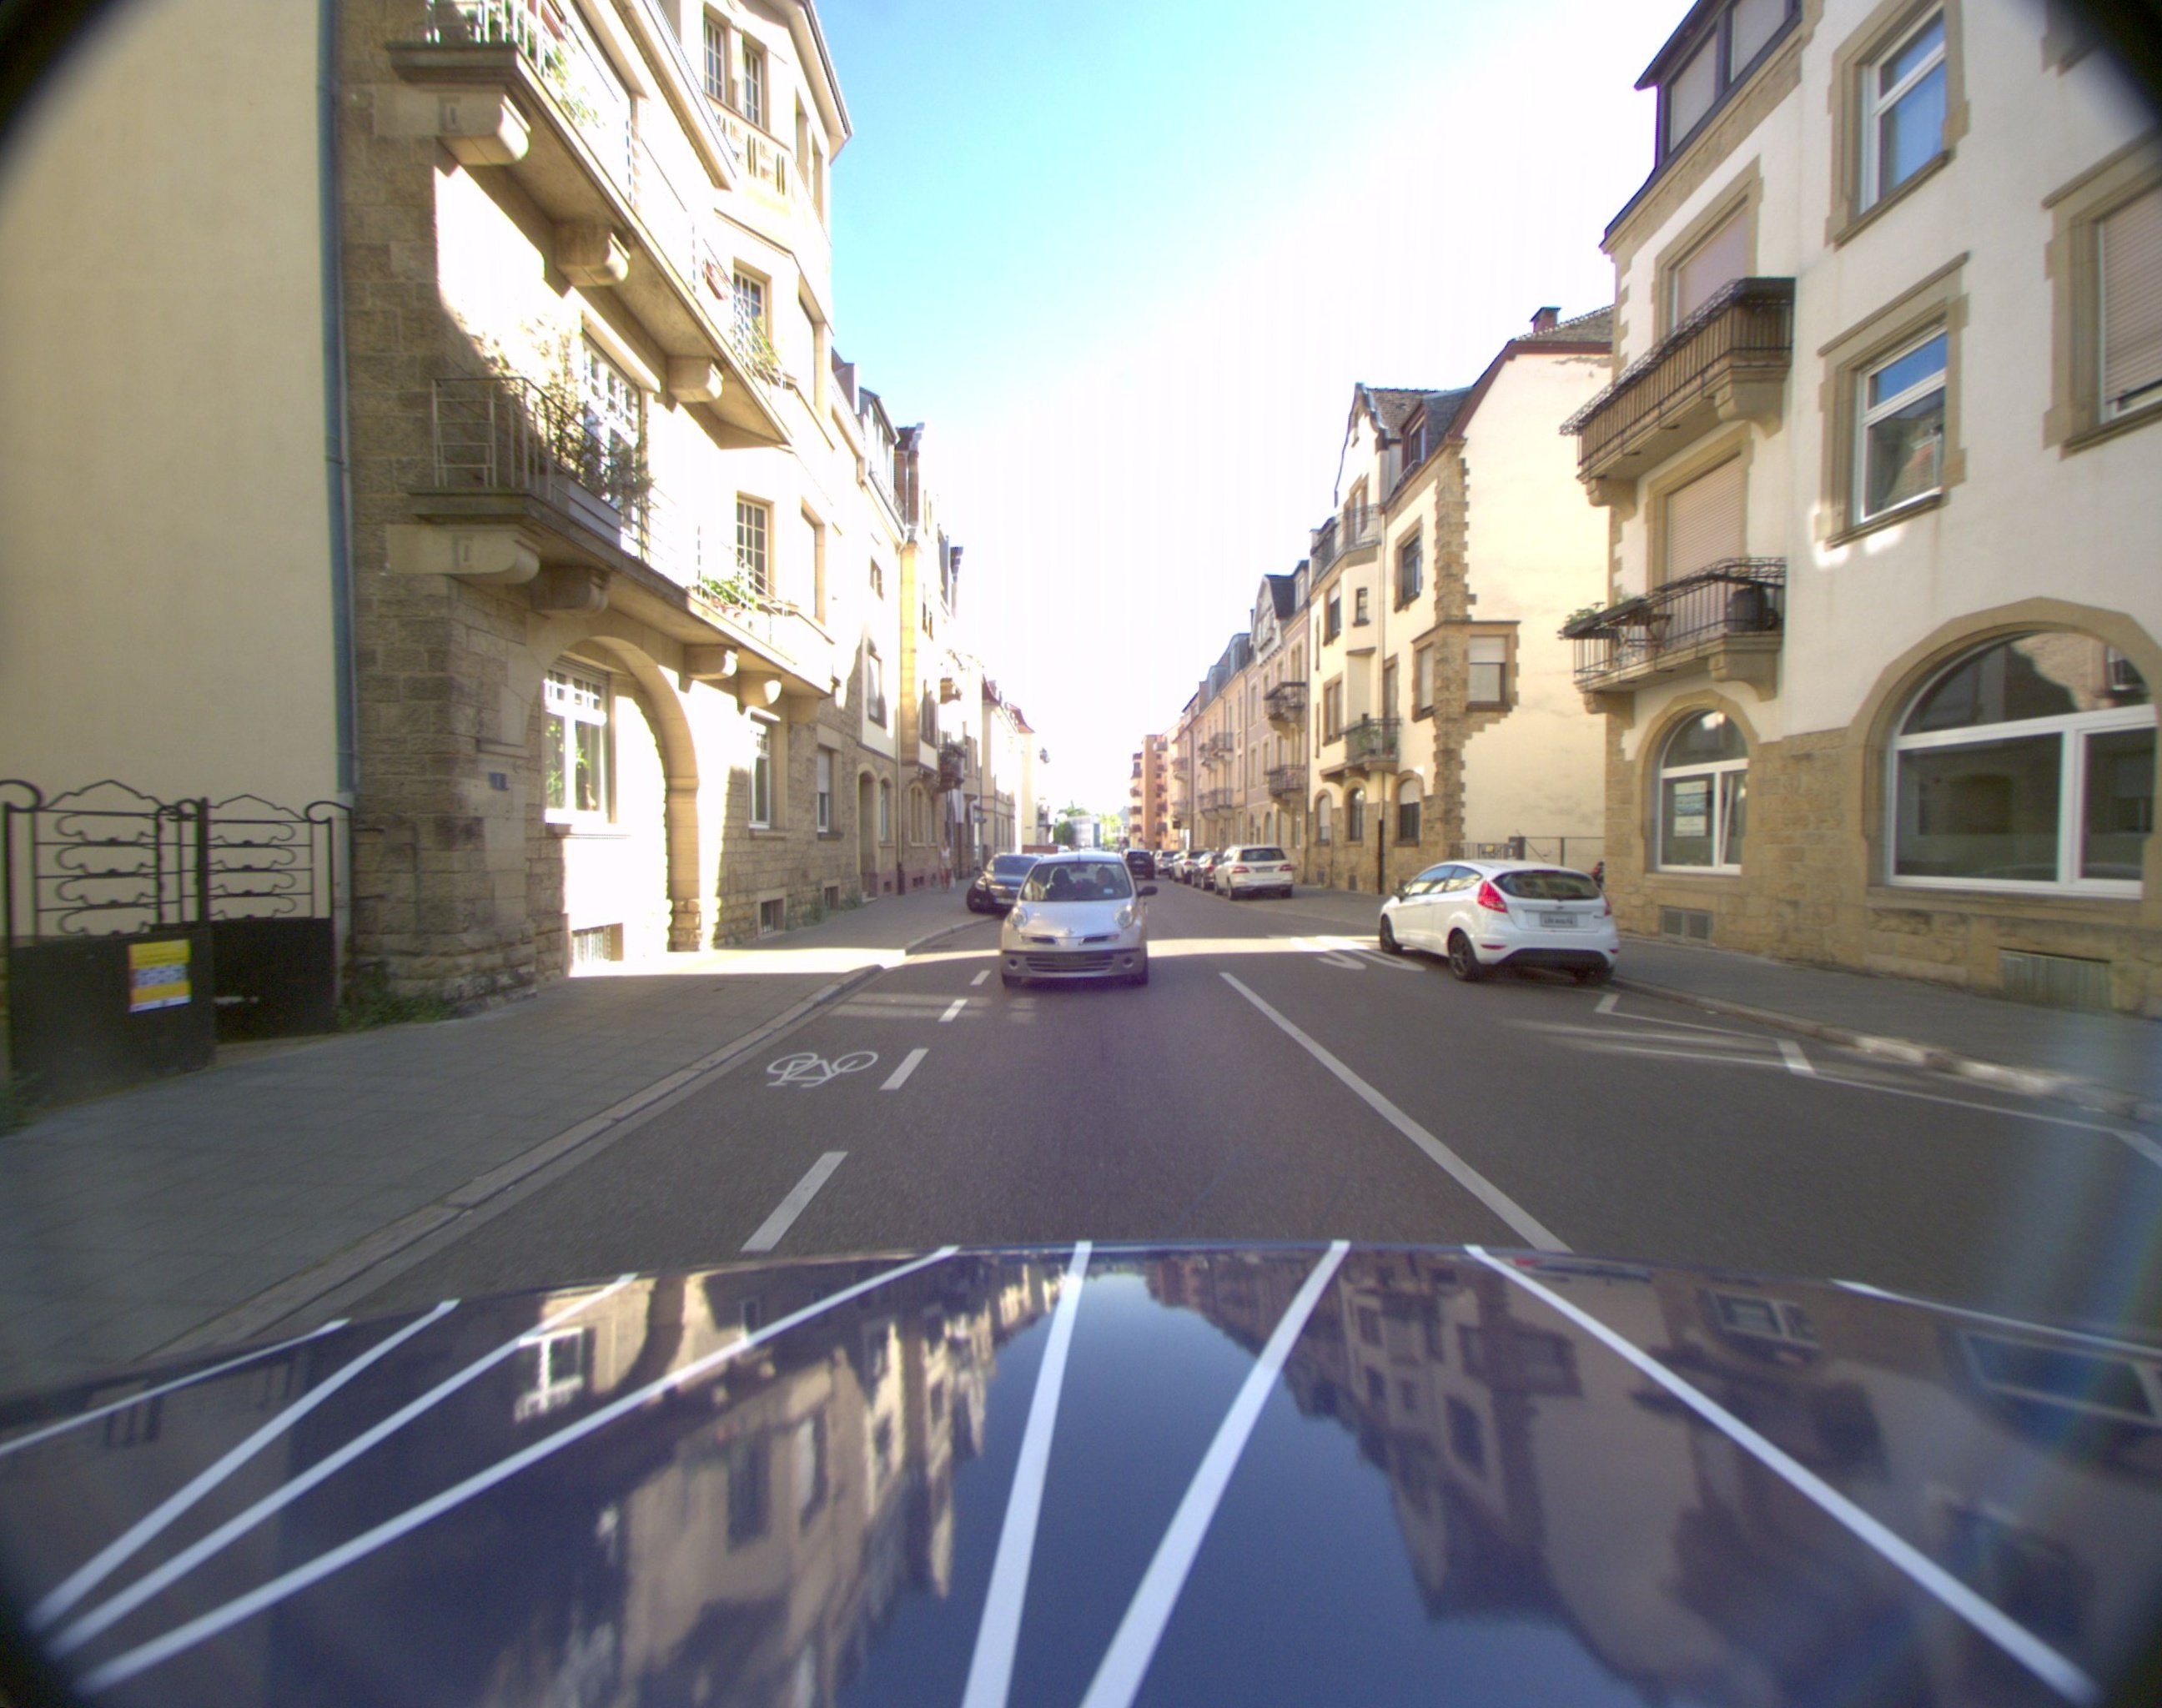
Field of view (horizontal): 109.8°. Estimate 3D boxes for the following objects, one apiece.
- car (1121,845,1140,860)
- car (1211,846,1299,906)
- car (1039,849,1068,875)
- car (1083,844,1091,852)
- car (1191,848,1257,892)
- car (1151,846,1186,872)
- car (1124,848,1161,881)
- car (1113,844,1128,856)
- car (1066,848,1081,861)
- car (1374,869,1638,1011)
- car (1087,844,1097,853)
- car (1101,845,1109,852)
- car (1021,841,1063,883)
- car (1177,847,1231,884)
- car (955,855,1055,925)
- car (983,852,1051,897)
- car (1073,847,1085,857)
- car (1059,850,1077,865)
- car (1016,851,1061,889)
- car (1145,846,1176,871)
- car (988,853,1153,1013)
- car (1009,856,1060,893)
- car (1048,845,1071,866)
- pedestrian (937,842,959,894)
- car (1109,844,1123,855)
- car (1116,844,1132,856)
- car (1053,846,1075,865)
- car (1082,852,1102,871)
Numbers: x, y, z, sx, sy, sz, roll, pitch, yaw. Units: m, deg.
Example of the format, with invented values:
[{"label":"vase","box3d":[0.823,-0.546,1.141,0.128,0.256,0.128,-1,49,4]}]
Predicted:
[{"label":"car","box3d":[6.211,-0.219,95.782,1.917,1.614,4.345,-3,1,0]},{"label":"car","box3d":[5.590,0.636,24.991,1.917,1.650,4.346,-3,1,2]},{"label":"car","box3d":[-1.828,0.527,52.142,1.833,1.586,3.819,-2,0,-1]},{"label":"car","box3d":[1.408,-1.474,182.722,1.877,1.657,3.999,-2,1,2]},{"label":"car","box3d":[5.724,0.593,30.869,1.917,1.509,4.346,-3,1,2]},{"label":"car","box3d":[5.761,0.298,50.510,1.917,1.509,4.346,-3,1,2]},{"label":"car","box3d":[3.385,0.560,42.542,1.917,1.718,4.347,1,0,3]},{"label":"car","box3d":[5.784,-0.657,112.094,1.917,1.614,4.345,-3,1,0]},{"label":"car","box3d":[-0.990,0.054,104.204,1.877,1.657,3.999,-2,1,2]},{"label":"car","box3d":[5.270,0.961,9.991,1.556,1.403,3.571,1,1,2]},{"label":"car","box3d":[2.039,-1.001,142.125,1.877,1.657,3.999,-2,1,2]},{"label":"car","box3d":[6.472,-1.462,205.170,1.917,1.614,4.345,-3,1,0]},{"label":"car","box3d":[-1.963,0.403,39.452,1.833,2.023,3.819,-2,0,1]},{"label":"car","box3d":[5.877,0.499,36.725,1.917,1.509,4.346,-3,1,2]},{"label":"car","box3d":[-1.819,0.841,19.522,1.998,1.528,4.000,-2,0,2]},{"label":"car","box3d":[-2.096,0.650,26.028,1.833,1.337,4.000,-2,0,2]},{"label":"car","box3d":[-0.361,-0.327,127.763,1.877,1.657,3.999,-2,1,2]},{"label":"car","box3d":[-1.567,0.394,92.933,1.877,1.657,3.999,-2,1,2]},{"label":"car","box3d":[-1.911,0.687,34.982,1.833,1.586,3.819,-2,0,-1]},{"label":"car","box3d":[5.892,0.285,56.939,1.917,1.614,4.346,-3,1,2]},{"label":"car","box3d":[-0.019,0.817,9.666,1.651,1.559,3.616,-2,1,3]},{"label":"car","box3d":[-1.826,0.789,30.826,1.833,1.337,3.819,-2,0,-1]},{"label":"car","box3d":[-1.826,0.104,64.773,1.833,1.649,3.819,-2,0,-1]},{"label":"pedestrian","box3d":[-4.502,0.469,25.717,0.578,1.712,0.697,1,1,1]},{"label":"car","box3d":[5.578,-0.798,122.108,1.917,1.614,4.345,-3,1,0]},{"label":"car","box3d":[5.949,-0.578,106.349,1.917,1.614,4.345,-3,1,0]},{"label":"car","box3d":[-1.536,0.141,69.544,1.833,1.649,3.819,-2,0,-1]},{"label":"car","box3d":[1.093,0.719,74.559,1.877,1.657,3.999,-2,1,2]}]
